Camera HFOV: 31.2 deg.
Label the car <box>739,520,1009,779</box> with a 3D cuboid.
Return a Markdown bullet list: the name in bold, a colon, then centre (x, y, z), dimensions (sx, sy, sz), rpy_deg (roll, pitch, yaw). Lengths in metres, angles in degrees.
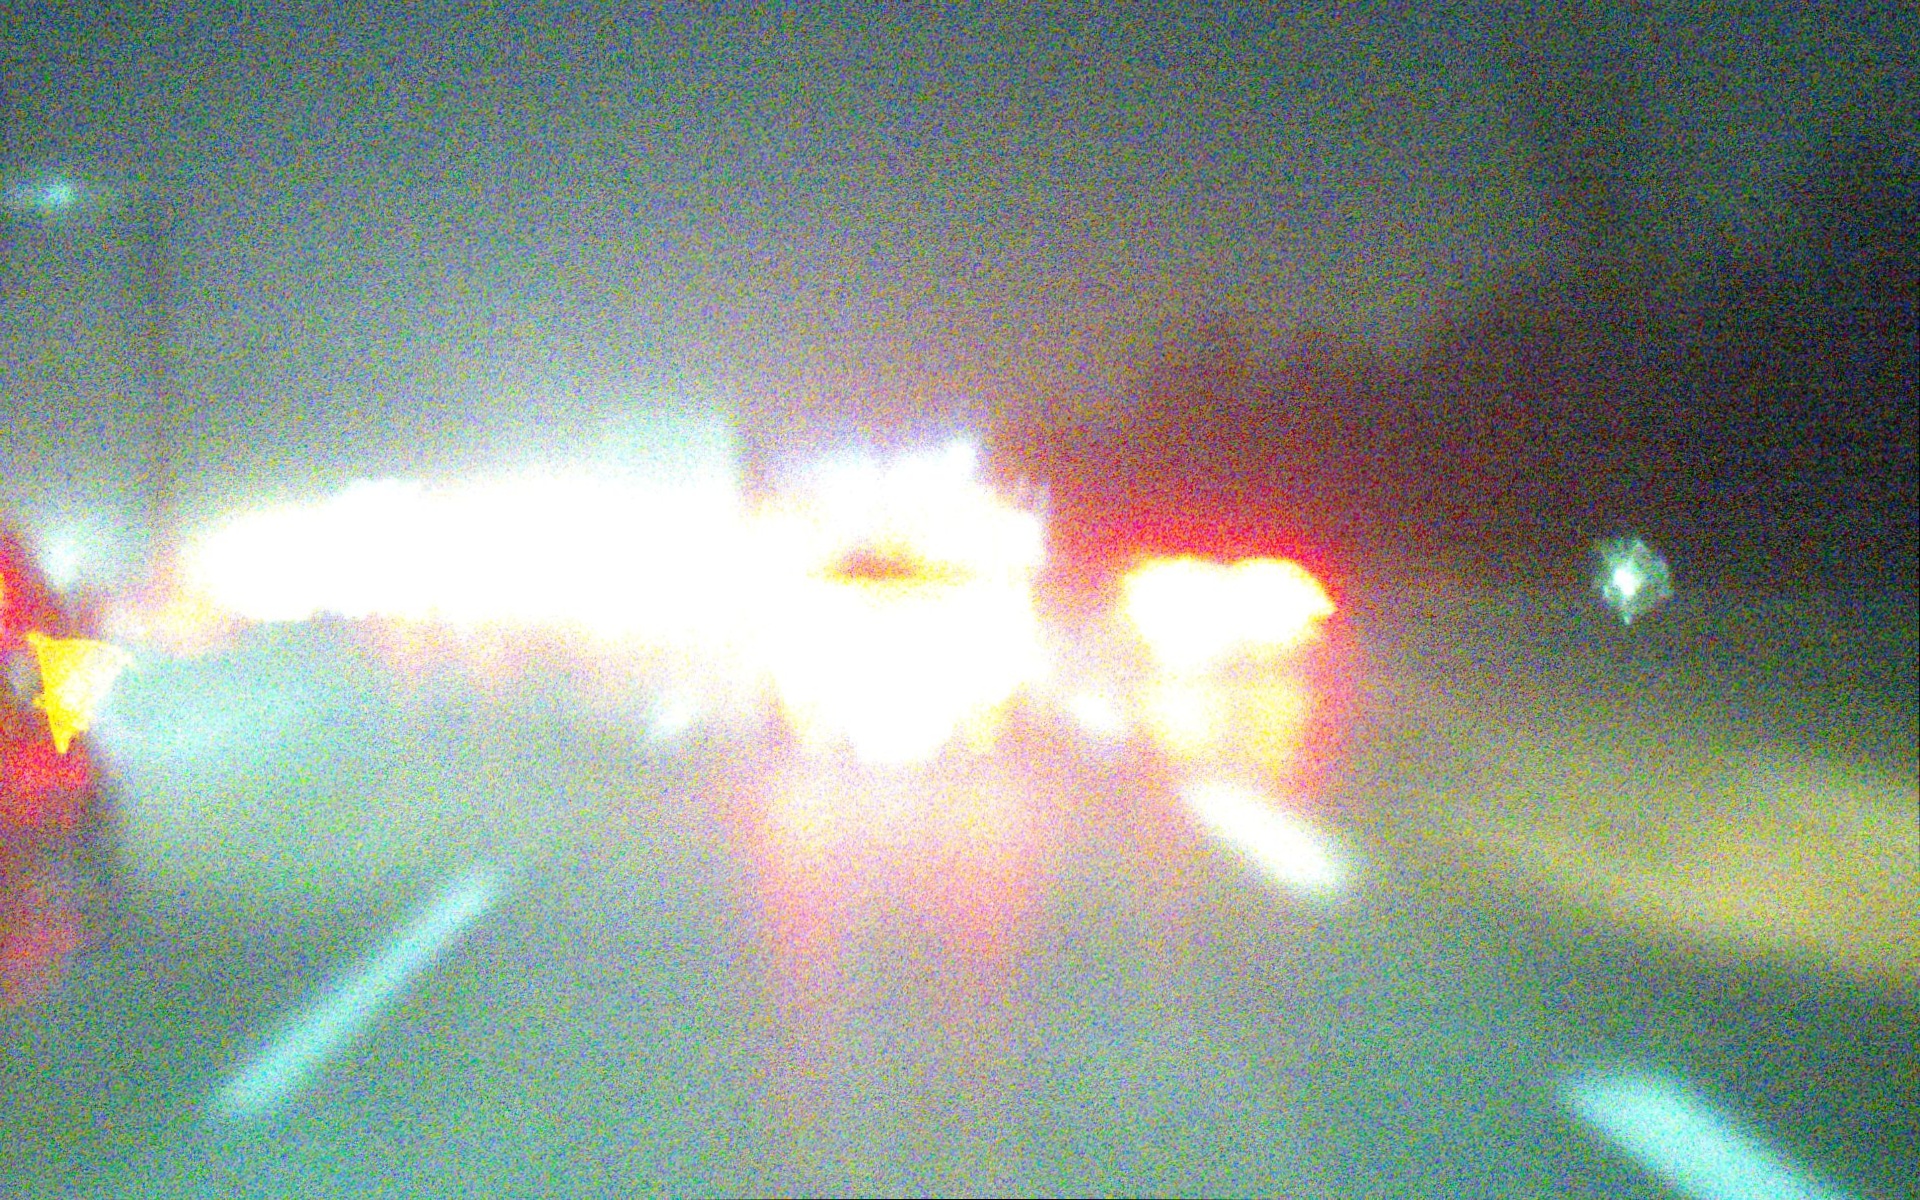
- **car**: centre (-0.589, 0.279, 24.609), dimensions (1.765, 1.683, 4.000), rpy_deg (0, 1, -1)

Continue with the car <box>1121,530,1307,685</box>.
- **car**: centre (2.978, 0.060, 41.106), dimensions (1.878, 1.756, 4.000), rpy_deg (0, 1, -1)

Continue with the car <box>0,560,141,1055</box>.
- **car**: centre (-3.797, 0.619, 11.201), dimensions (1.656, 1.426, 4.247), rpy_deg (0, 2, -6)

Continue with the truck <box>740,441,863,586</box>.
- **truck**: centre (-6.145, -3.328, 135.288), dimensions (4.254, 5.425, 10.884), rpy_deg (0, 1, 0)

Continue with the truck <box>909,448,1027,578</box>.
- **truck**: centre (0.249, -3.556, 142.931), dimensions (4.161, 5.197, 9.955), rpy_deg (0, 1, -4)

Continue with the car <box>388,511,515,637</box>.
- **car**: centre (-9.529, -0.502, 64.682), dimensions (2.263, 2.265, 5.387), rpy_deg (0, 1, -8)

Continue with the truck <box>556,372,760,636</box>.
- **truck**: centre (-5.893, -1.782, 66.720), dimensions (3.655, 4.721, 9.854), rpy_deg (0, 1, -5)

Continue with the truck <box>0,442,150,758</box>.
- **truck**: centre (-8.224, -0.039, 26.706), dimensions (2.857, 2.193, 5.859), rpy_deg (0, 1, -4)
